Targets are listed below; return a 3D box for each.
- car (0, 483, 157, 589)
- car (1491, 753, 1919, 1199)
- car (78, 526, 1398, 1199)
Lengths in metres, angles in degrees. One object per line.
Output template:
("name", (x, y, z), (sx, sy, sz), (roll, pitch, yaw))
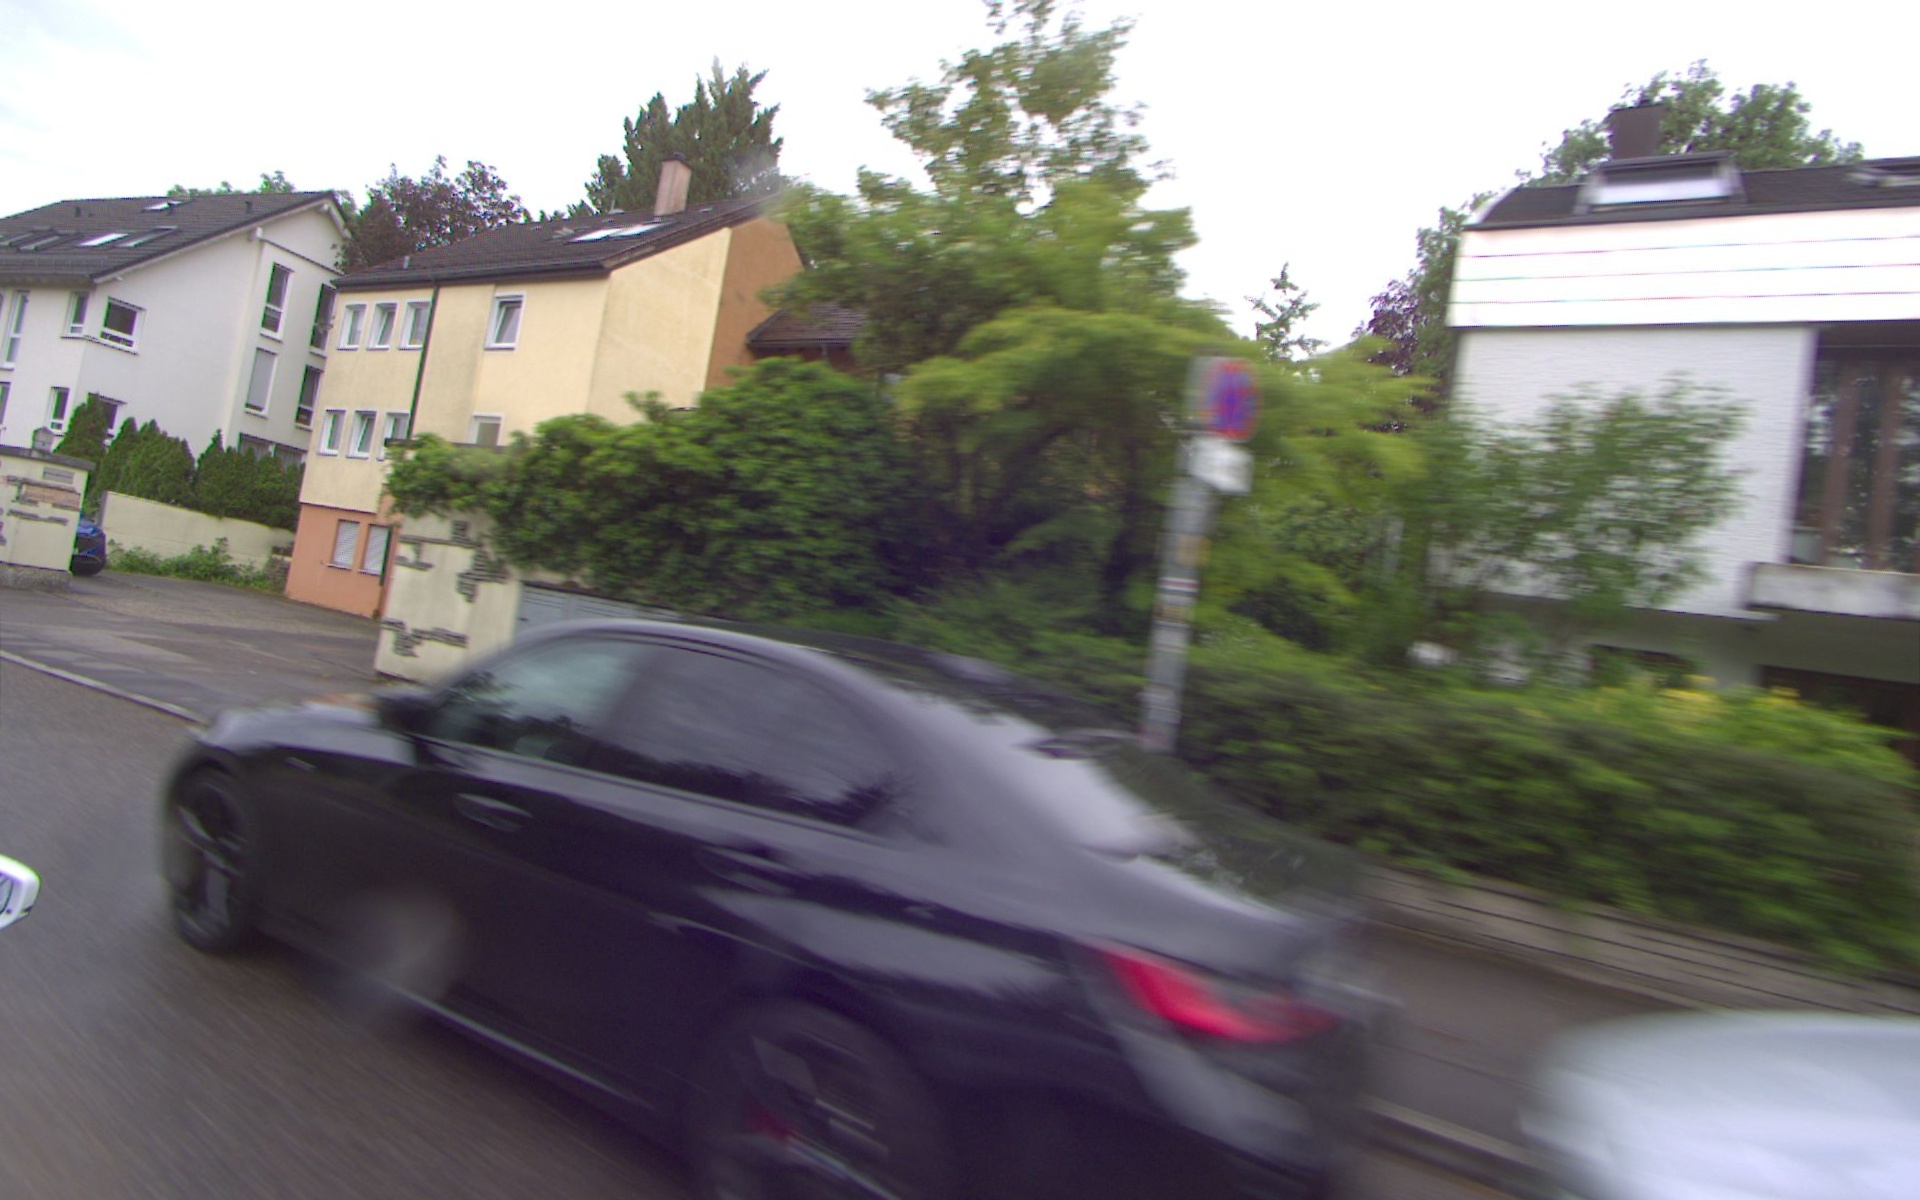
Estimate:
("car", (-18.998, -1.398, 20.578), (4.262, 1.611, 1.943), (7, -5, 21))
("car", (3.182, 1.309, 1.228), (4.419, 1.503, 1.798), (6, -3, 30))
("car", (-1.046, 0.731, 3.613), (4.523, 1.459, 1.756), (6, -3, 31))
